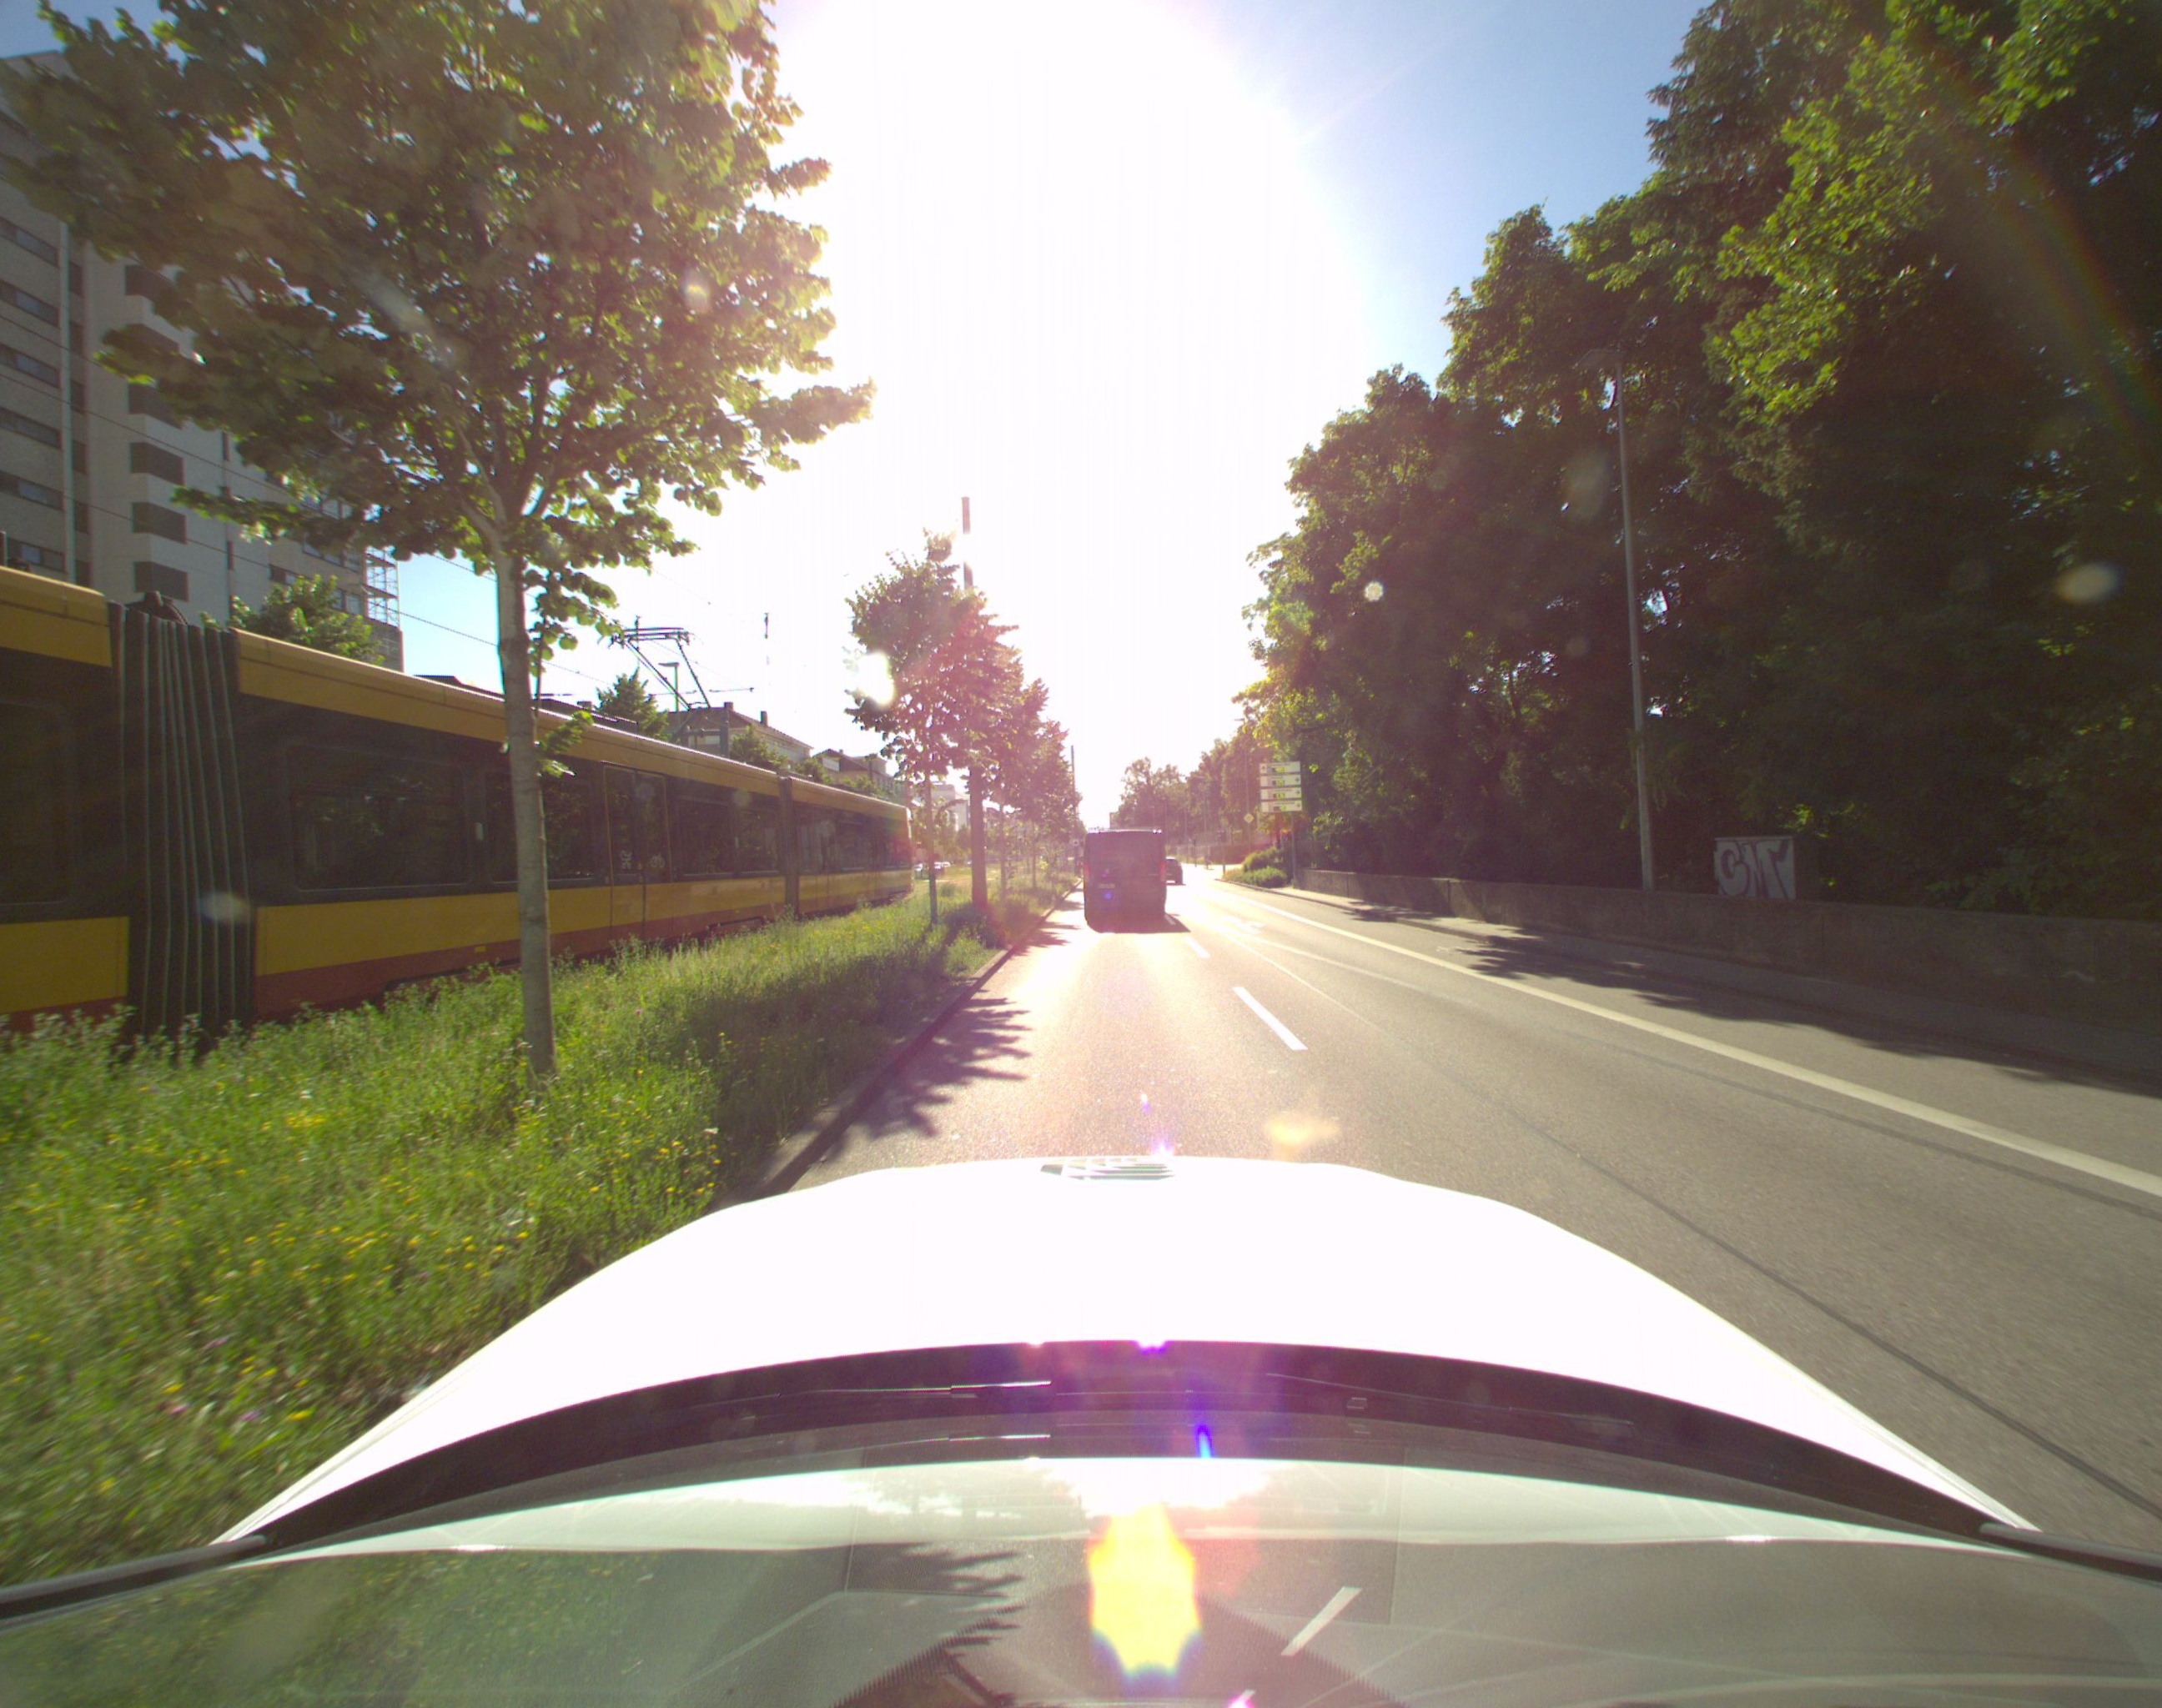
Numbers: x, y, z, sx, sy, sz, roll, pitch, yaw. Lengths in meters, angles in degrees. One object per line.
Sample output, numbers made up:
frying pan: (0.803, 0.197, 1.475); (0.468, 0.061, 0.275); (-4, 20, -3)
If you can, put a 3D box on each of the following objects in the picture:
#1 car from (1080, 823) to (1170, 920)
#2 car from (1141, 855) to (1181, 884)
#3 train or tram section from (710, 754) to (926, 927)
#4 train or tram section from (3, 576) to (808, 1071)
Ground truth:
car: (1.082, 0.423, 21.338); (2.075, 2.249, 4.000); (-1, 0, 1)
car: (4.292, 0.810, 44.180); (1.758, 1.462, 3.999); (-1, 0, -1)
train or tram section: (-6.740, -0.277, 23.264); (1.986, 3.669, 11.687); (-1, 0, 2)
train or tram section: (-6.971, -0.216, 11.767); (1.986, 3.669, 11.318); (-1, 0, 1)
